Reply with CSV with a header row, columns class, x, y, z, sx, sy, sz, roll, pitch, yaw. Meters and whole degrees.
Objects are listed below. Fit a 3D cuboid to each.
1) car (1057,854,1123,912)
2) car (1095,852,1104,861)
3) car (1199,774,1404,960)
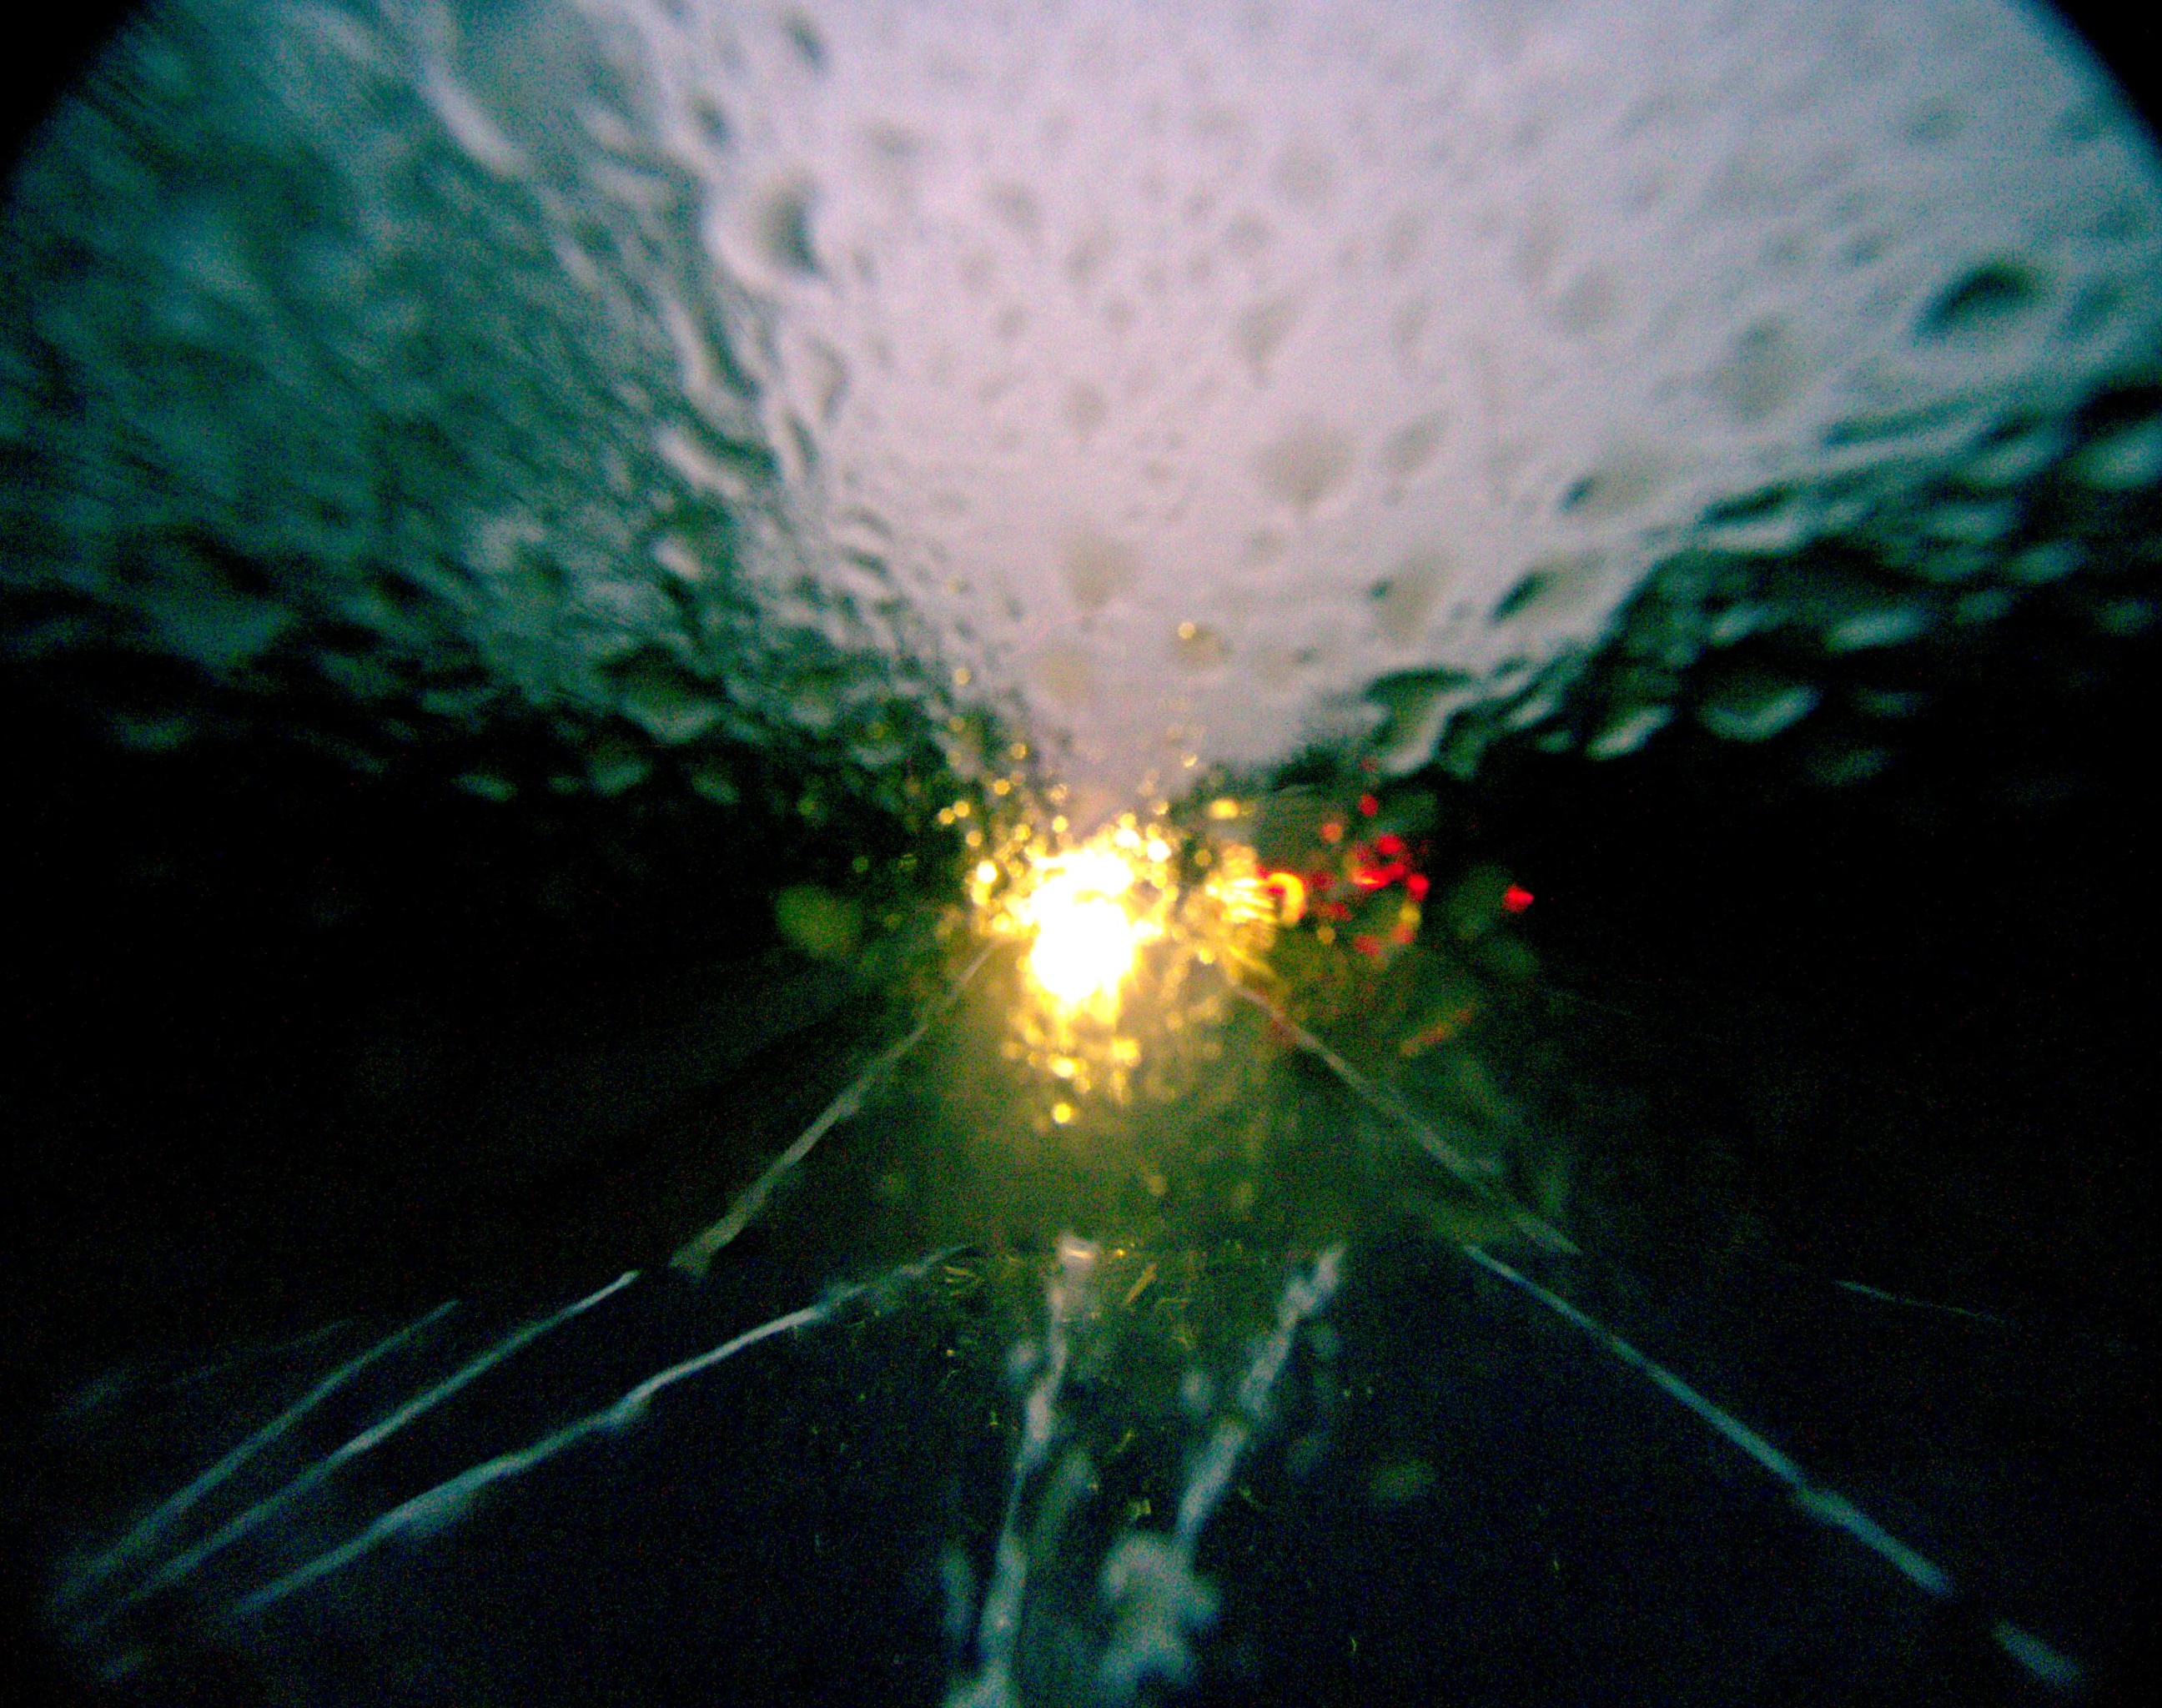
class,x,y,z,sx,sy,sz,roll,pitch,yaw
car,0.289,0.895,25.613,1.998,1.672,3.999,-2,1,0
car,3.819,0.484,158.885,1.678,1.727,3.837,-2,1,1
car,3.899,0.172,14.970,2.079,2.795,6.652,-2,1,0
